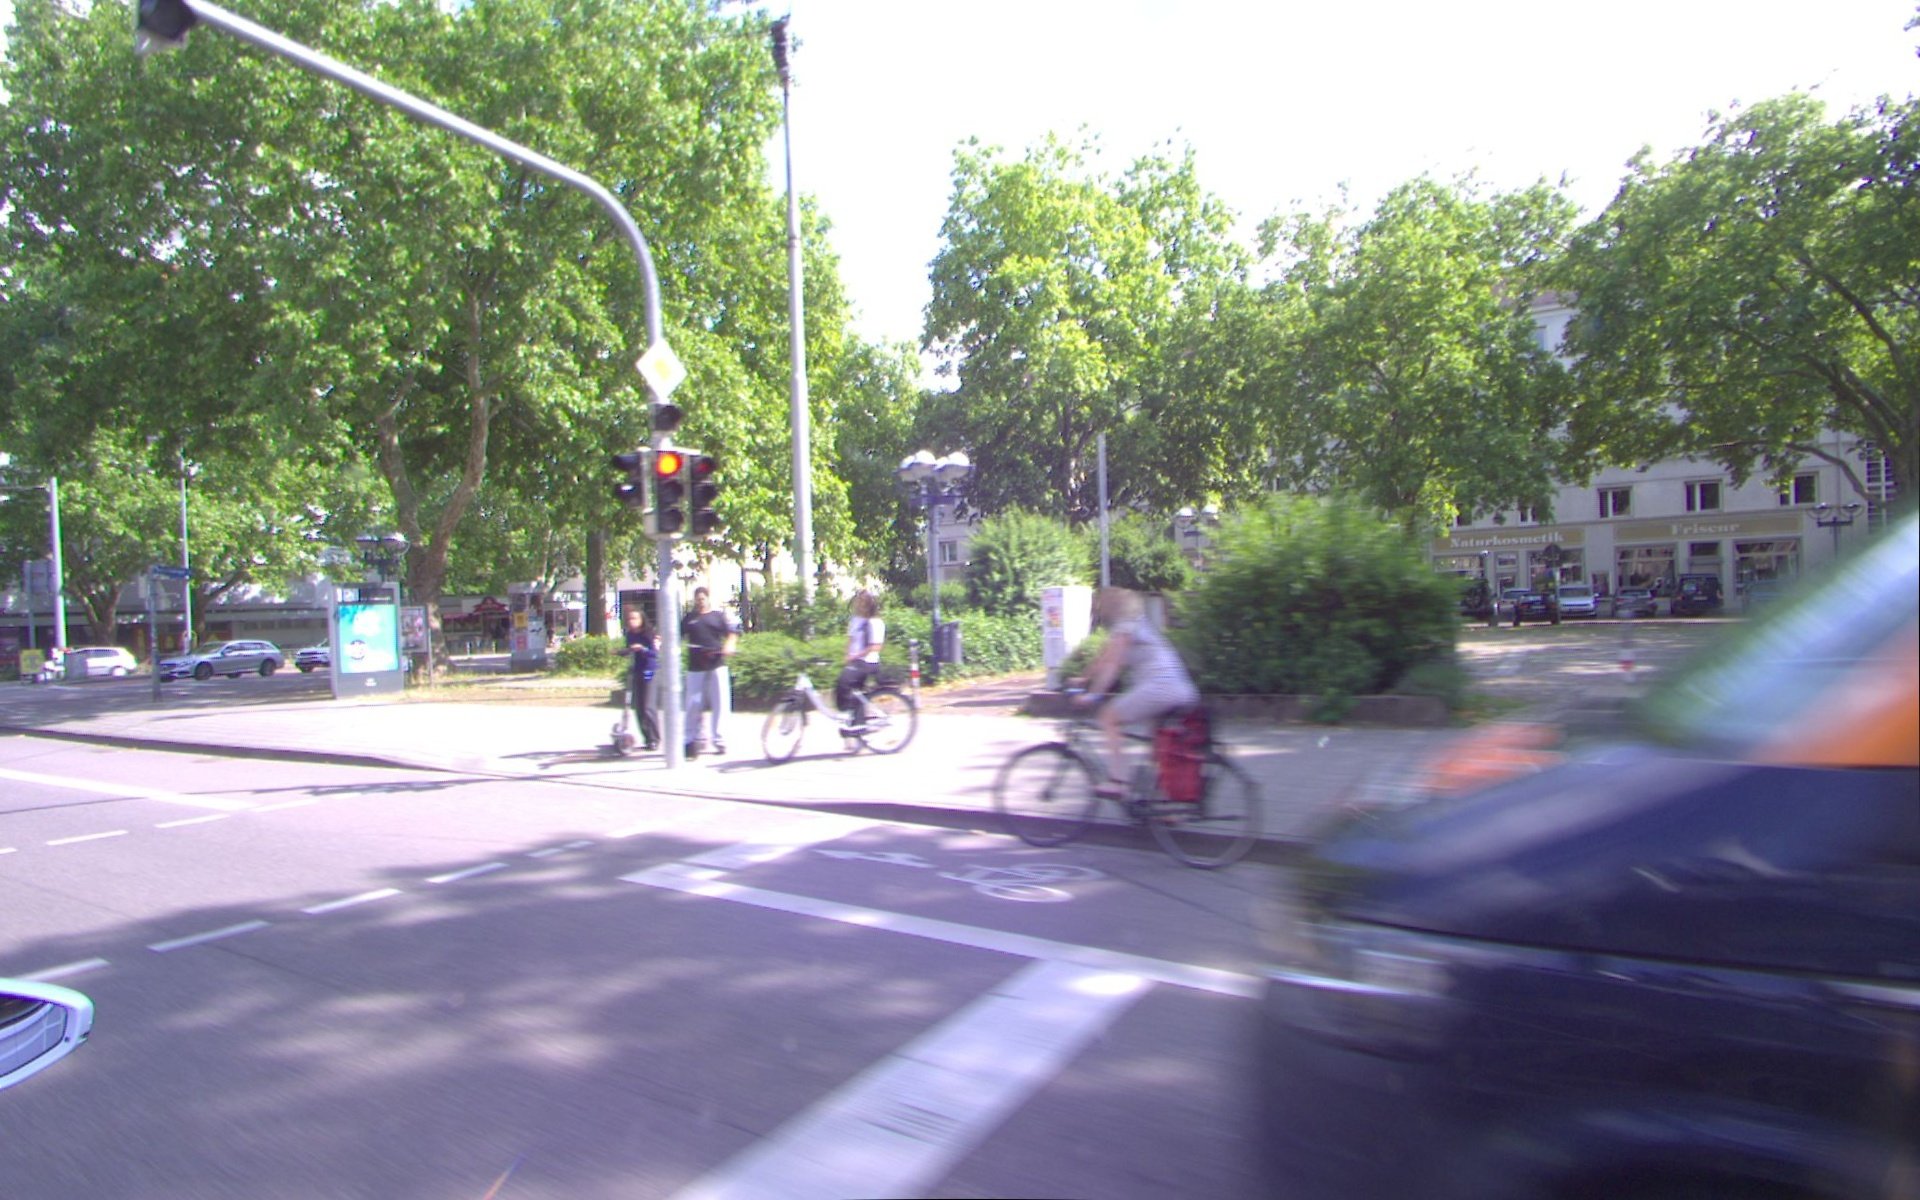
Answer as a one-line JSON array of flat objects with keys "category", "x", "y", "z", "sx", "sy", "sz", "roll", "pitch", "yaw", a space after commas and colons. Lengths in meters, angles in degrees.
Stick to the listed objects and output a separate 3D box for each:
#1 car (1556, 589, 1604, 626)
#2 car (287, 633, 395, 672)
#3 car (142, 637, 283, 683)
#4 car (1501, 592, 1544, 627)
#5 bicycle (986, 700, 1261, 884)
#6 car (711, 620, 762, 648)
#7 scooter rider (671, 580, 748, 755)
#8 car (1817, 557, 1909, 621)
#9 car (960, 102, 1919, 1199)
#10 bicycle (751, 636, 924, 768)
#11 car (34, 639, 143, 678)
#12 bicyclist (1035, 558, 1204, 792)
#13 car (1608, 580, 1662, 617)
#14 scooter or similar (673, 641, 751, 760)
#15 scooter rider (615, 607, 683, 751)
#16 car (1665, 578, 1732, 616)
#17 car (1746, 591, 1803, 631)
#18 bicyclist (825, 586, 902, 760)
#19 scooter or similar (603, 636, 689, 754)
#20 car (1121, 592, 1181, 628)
[{"category": "car", "x": 30.861, "y": 0.357, "z": 49.959, "sx": 1.824, "sy": 1.681, "sz": 4.064, "roll": -2, "pitch": 0, "yaw": 29}, {"category": "car", "x": -27.579, "y": 2.318, "z": 44.779, "sx": 1.826, "sy": 1.509, "sz": 4.073, "roll": -2, "pitch": 0, "yaw": 11}, {"category": "car", "x": -28.547, "y": 2.254, "z": 38.401, "sx": 1.827, "sy": 1.509, "sz": 3.995, "roll": -2, "pitch": 0, "yaw": 15}, {"category": "car", "x": 29.012, "y": 0.461, "z": 51.634, "sx": 1.824, "sy": 1.681, "sz": 4.064, "roll": -2, "pitch": 0, "yaw": 29}, {"category": "bicycle", "x": 0.980, "y": 1.147, "z": 6.324, "sx": 1.698, "sy": 0.933, "sz": 0.467, "roll": -3, "pitch": 0, "yaw": 41}, {"category": "car", "x": -13.758, "y": 2.072, "z": 61.804, "sx": 1.658, "sy": 1.521, "sz": 3.997, "roll": -2, "pitch": 0, "yaw": 9}, {"category": "scooter rider", "x": -2.750, "y": 0.712, "z": 10.972, "sx": 0.537, "sy": 1.835, "sz": 0.675, "roll": -4, "pitch": 2, "yaw": -32}, {"category": "car", "x": 32.471, "y": -0.326, "z": 36.129, "sx": 2.229, "sy": 2.039, "sz": 3.905, "roll": -3, "pitch": -3, "yaw": 39}, {"category": "car", "x": 2.808, "y": 0.369, "z": 1.211, "sx": 5.262, "sy": 2.012, "sz": 2.070, "roll": -4, "pitch": -1, "yaw": 32}, {"category": "bicycle", "x": -1.240, "y": 1.004, "z": 10.144, "sx": 1.602, "sy": 1.127, "sz": 0.506, "roll": -4, "pitch": 2, "yaw": -19}, {"category": "car", "x": -39.724, "y": 2.635, "z": 45.681, "sx": 1.719, "sy": 1.504, "sz": 3.636, "roll": -2, "pitch": 0, "yaw": 45}, {"category": "bicyclist", "x": 0.994, "y": 0.448, "z": 6.291, "sx": 0.899, "sy": 1.361, "sz": 0.467, "roll": -2, "pitch": 0, "yaw": 41}, {"category": "car", "x": 32.814, "y": -0.099, "z": 48.743, "sx": 1.824, "sy": 1.681, "sz": 4.064, "roll": -2, "pitch": 0, "yaw": 29}, {"category": "scooter or similar", "x": -2.728, "y": 1.071, "z": 10.979, "sx": 0.537, "sy": 1.187, "sz": 0.871, "roll": -4, "pitch": 2, "yaw": -32}, {"category": "scooter rider", "x": -3.602, "y": 0.902, "z": 11.615, "sx": 0.534, "sy": 1.615, "sz": 0.437, "roll": -2, "pitch": 2, "yaw": 10}, {"category": "car", "x": 34.973, "y": -0.147, "z": 47.518, "sx": 2.052, "sy": 1.681, "sz": 4.064, "roll": -2, "pitch": 0, "yaw": 29}, {"category": "car", "x": 37.348, "y": 0.553, "z": 45.920, "sx": 1.911, "sy": 1.688, "sz": 3.708, "roll": -3, "pitch": -3, "yaw": 39}, {"category": "bicyclist", "x": -0.991, "y": 0.725, "z": 10.225, "sx": 0.573, "sy": 1.691, "sz": 0.506, "roll": -4, "pitch": 2, "yaw": -19}, {"category": "scooter or similar", "x": -3.604, "y": 1.076, "z": 11.554, "sx": 0.534, "sy": 1.243, "sz": 0.876, "roll": -2, "pitch": 2, "yaw": 10}, {"category": "car", "x": 9.881, "y": 0.493, "z": 51.495, "sx": 1.969, "sy": 1.706, "sz": 3.984, "roll": -2, "pitch": 0, "yaw": 27}]
